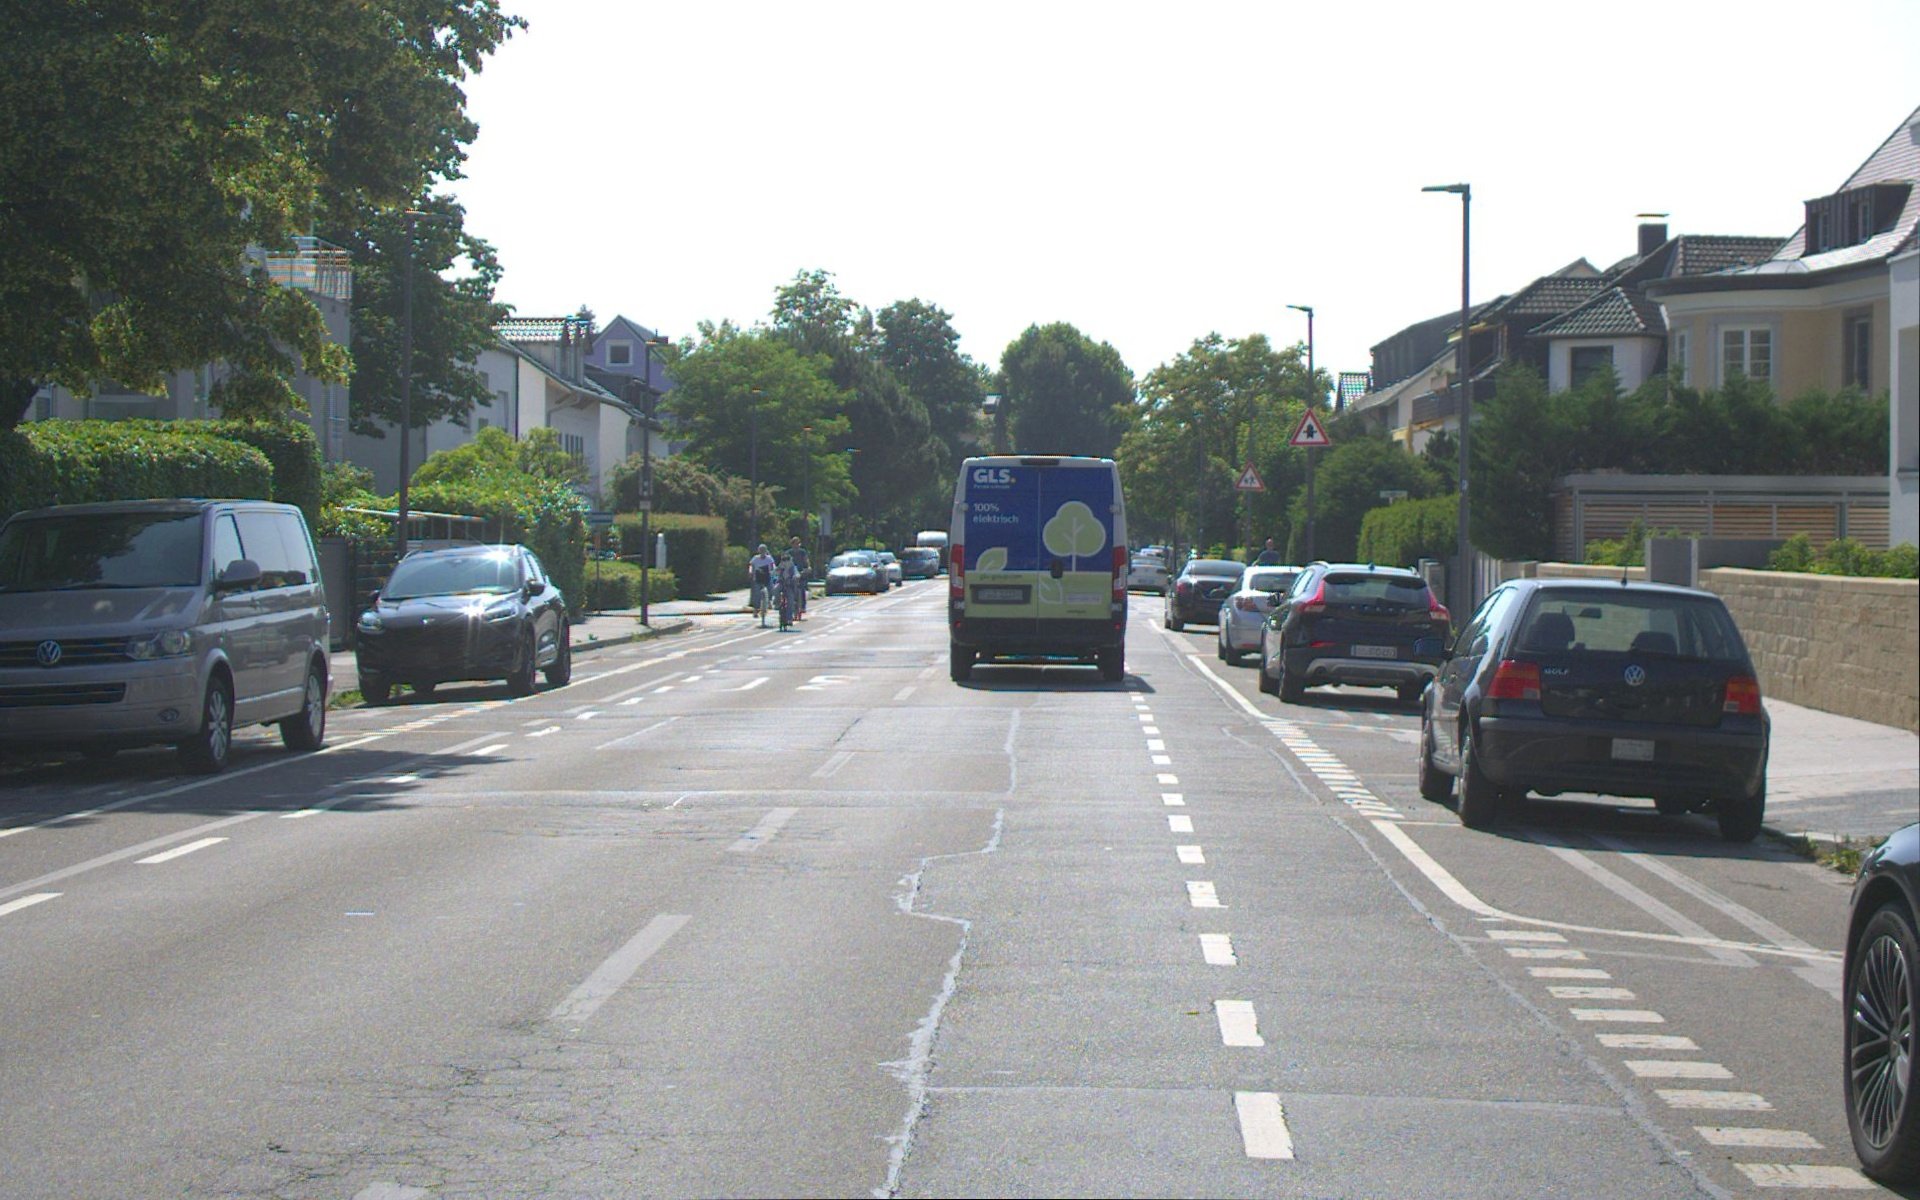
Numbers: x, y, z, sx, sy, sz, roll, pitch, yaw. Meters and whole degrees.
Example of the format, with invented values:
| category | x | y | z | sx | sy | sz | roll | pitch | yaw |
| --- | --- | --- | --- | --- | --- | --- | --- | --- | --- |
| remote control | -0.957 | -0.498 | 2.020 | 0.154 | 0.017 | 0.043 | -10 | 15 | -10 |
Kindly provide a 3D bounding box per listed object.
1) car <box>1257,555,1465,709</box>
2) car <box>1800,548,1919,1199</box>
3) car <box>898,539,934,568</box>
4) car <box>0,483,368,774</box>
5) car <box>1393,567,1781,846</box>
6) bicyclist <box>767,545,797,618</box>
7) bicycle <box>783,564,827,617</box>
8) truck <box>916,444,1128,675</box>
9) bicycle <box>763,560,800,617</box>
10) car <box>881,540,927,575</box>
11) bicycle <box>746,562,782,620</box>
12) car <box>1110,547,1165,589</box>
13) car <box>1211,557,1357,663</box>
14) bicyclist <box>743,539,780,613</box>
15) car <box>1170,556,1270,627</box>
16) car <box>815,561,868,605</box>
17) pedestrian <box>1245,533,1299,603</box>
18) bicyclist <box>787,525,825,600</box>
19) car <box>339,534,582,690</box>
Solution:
| category | x | y | z | sx | sy | sz | roll | pitch | yaw |
| --- | --- | --- | --- | --- | --- | --- | --- | --- | --- |
| car | 4.208 | 0.301 | 36.603 | 1.722 | 1.444 | 4.168 | 4 | 1 | 1 |
| car | 3.133 | 0.740 | 6.562 | 1.696 | 1.577 | 4.901 | 3 | 1 | -1 |
| car | -2.269 | -2.421 | 177.599 | 1.781 | 1.455 | 4.086 | 1 | 1 | 0 |
| car | -5.905 | 0.167 | 25.243 | 1.885 | 1.913 | 4.867 | -1 | 1 | 5 |
| car | 3.667 | 0.559 | 20.730 | 1.619 | 1.444 | 4.000 | 3 | 1 | 1 |
| bicyclist | -3.562 | -0.373 | 68.766 | 0.490 | 1.449 | 0.964 | -1 | 0 | 2 |
| bicycle | -3.503 | -0.222 | 77.946 | 0.782 | 1.162 | 2.420 | -1 | 0 | 2 |
| truck | 0.668 | -0.476 | 40.894 | 2.272 | 2.562 | 4.392 | 1 | 1 | -2 |
| bicycle | -3.560 | -0.237 | 68.678 | 0.600 | 1.101 | 1.346 | -1 | 0 | 2 |
| car | -2.317 | -1.793 | 143.258 | 1.785 | 1.435 | 4.000 | 1 | 1 | 1 |
| bicycle | -4.203 | -0.204 | 73.750 | 0.559 | 1.181 | 2.036 | 2 | 2 | 2 |
| car | 6.307 | -1.166 | 122.636 | 1.740 | 1.397 | 4.074 | -2 | 1 | 1 |
| car | 4.537 | 0.147 | 48.569 | 1.737 | 1.324 | 4.076 | 4 | 0 | 2 |
| bicyclist | -4.268 | -0.516 | 73.899 | 0.676 | 1.575 | 0.859 | -1 | 0 | 2 |
| car | 5.087 | -0.187 | 67.714 | 1.737 | 1.324 | 4.260 | 1 | 1 | 1 |
| car | -4.111 | -0.603 | 119.839 | 1.785 | 1.435 | 4.155 | -1 | 1 | -2 |
| pedestrian | 8.419 | -0.857 | 92.677 | 0.898 | 1.866 | 1.189 | 1 | 0 | -31 |
| bicyclist | -3.494 | -0.855 | 78.022 | 0.749 | 1.662 | 1.022 | -1 | 0 | 2 |
| car | -5.507 | 0.112 | 38.412 | 1.851 | 1.605 | 4.448 | -1 | 0 | 3 |
